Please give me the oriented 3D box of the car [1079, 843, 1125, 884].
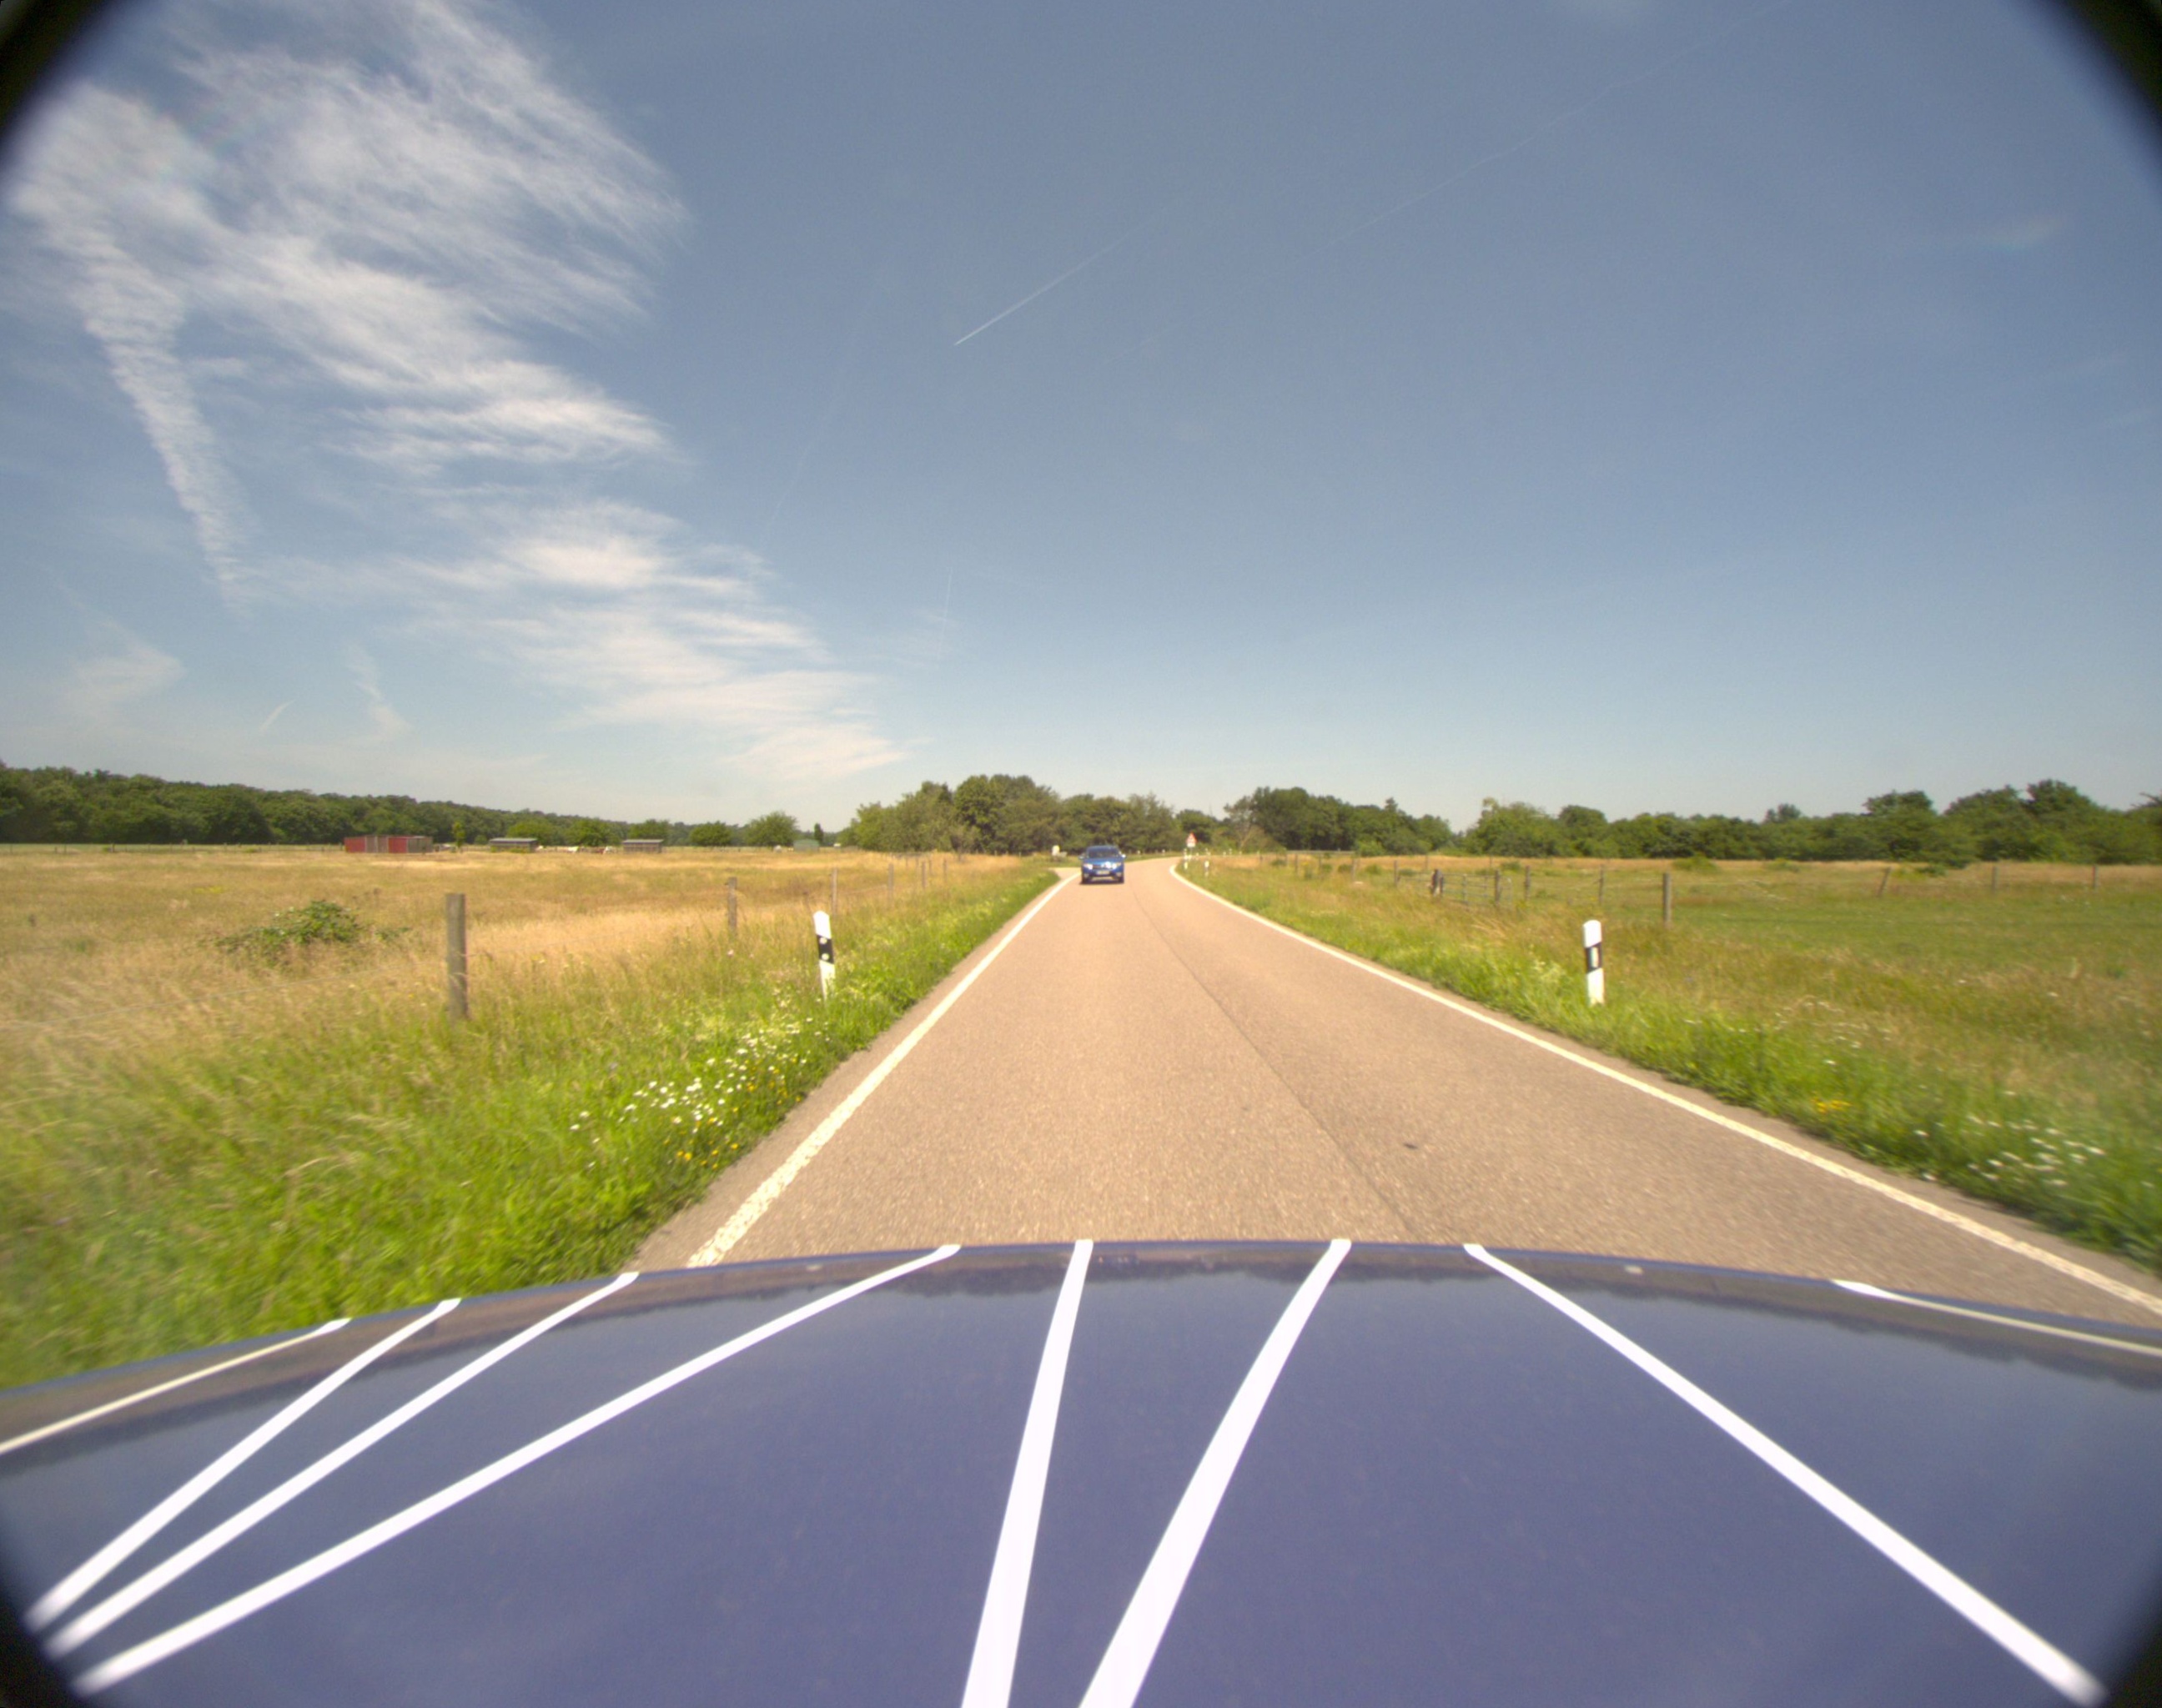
[{"bbox_3d":[0.957,0.364,31.976,1.733,1.572,4.001,-1,1,4],"label":"car"}]
